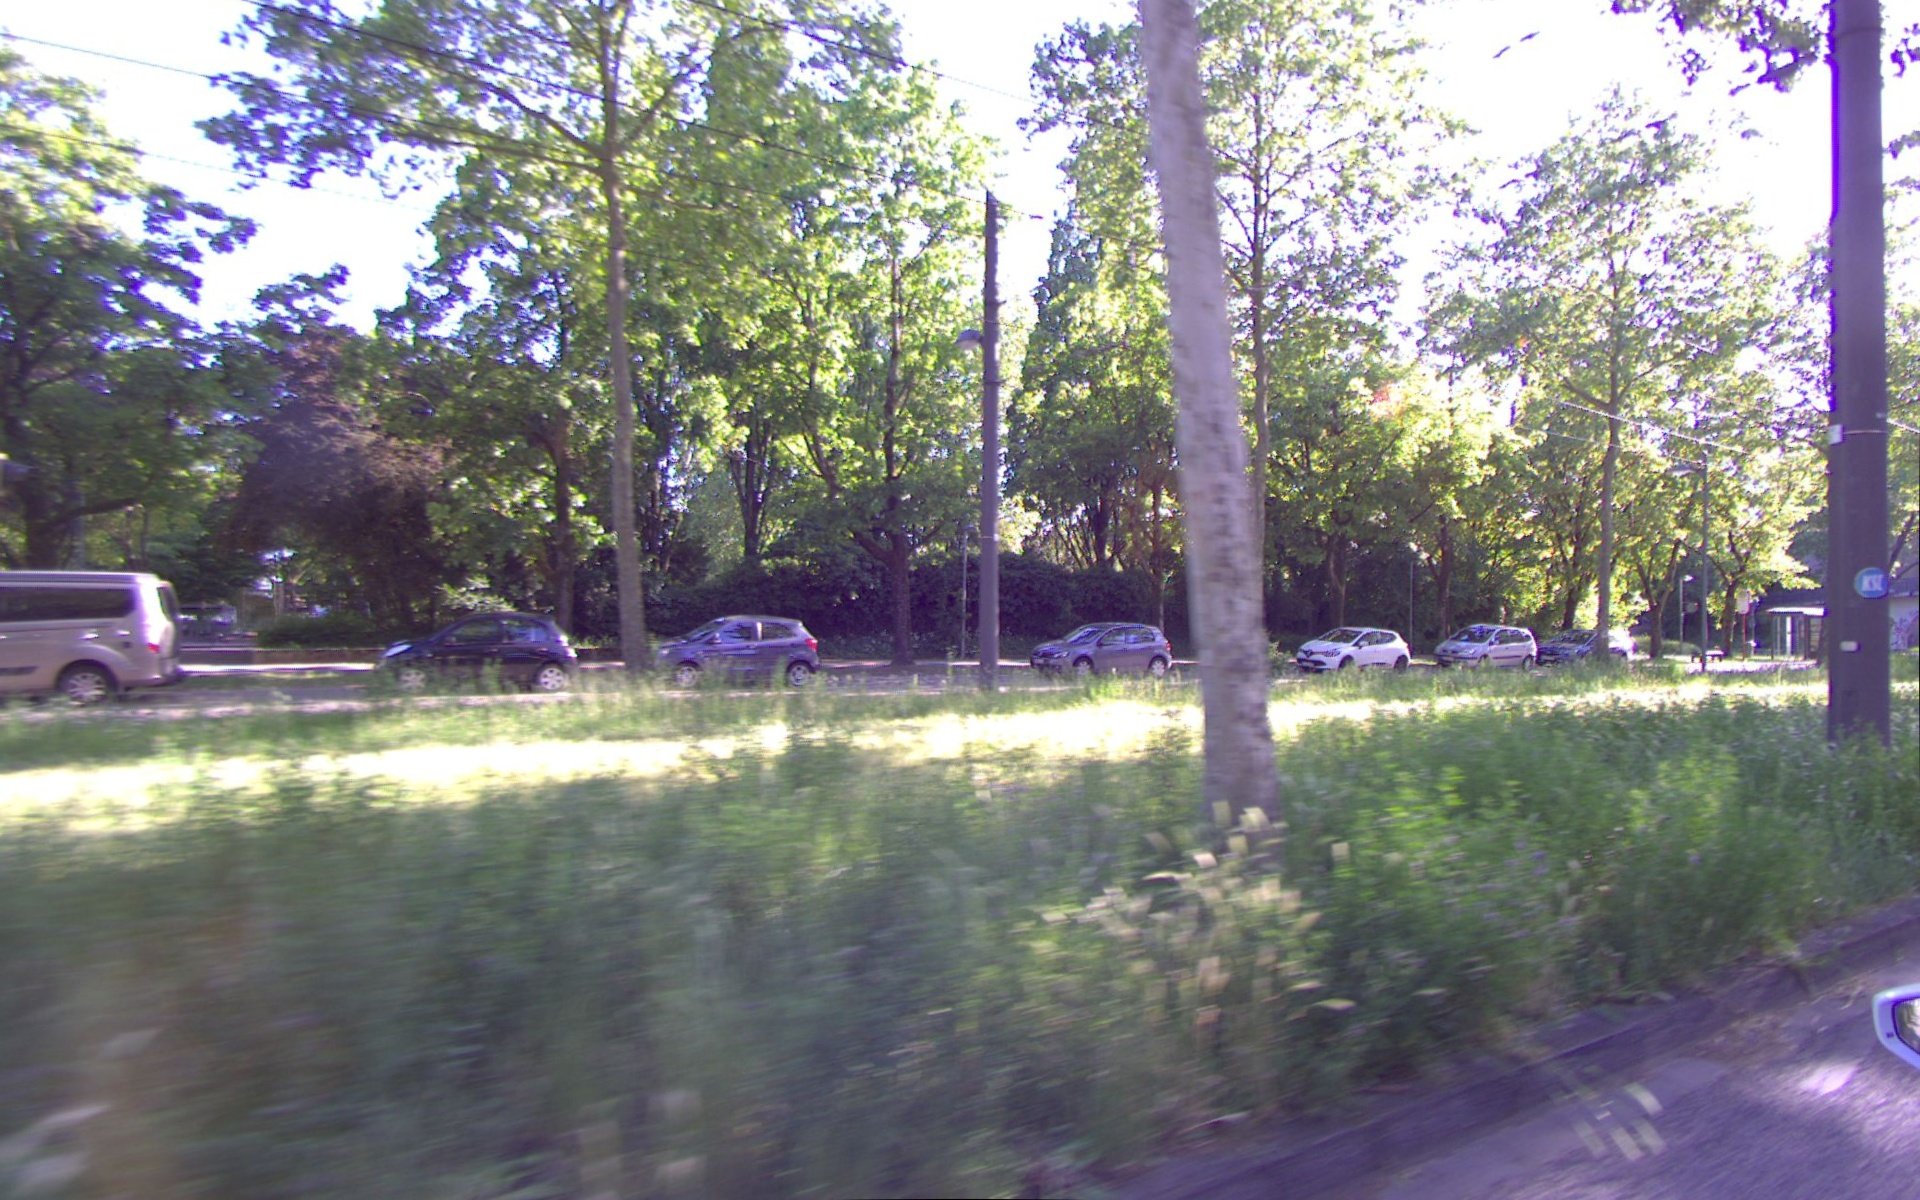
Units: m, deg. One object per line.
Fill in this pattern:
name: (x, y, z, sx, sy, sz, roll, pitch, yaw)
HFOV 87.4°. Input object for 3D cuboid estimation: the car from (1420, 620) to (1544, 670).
car: (18.855, 1.580, 36.270, 4.116, 1.611, 1.985, 1, 2, -29)

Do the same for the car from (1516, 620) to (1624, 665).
car: (23.943, 1.651, 39.397, 4.116, 1.611, 1.779, 1, 2, -29)

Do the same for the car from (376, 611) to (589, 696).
car: (-9.326, 1.006, 19.734, 3.618, 1.472, 1.638, 1, 2, -29)

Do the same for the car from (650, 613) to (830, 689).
car: (-4.891, 1.096, 22.328, 3.530, 1.472, 1.864, 1, 2, -29)

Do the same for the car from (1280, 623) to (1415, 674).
car: (12.565, 1.539, 32.557, 3.951, 1.472, 1.985, 1, 2, -29)

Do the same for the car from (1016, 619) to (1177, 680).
car: (3.726, 1.315, 27.441, 3.951, 1.472, 1.985, 1, 2, -29)

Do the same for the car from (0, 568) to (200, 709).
car: (-15.211, 0.565, 15.898, 4.854, 2.121, 1.638, 1, 2, -29)
